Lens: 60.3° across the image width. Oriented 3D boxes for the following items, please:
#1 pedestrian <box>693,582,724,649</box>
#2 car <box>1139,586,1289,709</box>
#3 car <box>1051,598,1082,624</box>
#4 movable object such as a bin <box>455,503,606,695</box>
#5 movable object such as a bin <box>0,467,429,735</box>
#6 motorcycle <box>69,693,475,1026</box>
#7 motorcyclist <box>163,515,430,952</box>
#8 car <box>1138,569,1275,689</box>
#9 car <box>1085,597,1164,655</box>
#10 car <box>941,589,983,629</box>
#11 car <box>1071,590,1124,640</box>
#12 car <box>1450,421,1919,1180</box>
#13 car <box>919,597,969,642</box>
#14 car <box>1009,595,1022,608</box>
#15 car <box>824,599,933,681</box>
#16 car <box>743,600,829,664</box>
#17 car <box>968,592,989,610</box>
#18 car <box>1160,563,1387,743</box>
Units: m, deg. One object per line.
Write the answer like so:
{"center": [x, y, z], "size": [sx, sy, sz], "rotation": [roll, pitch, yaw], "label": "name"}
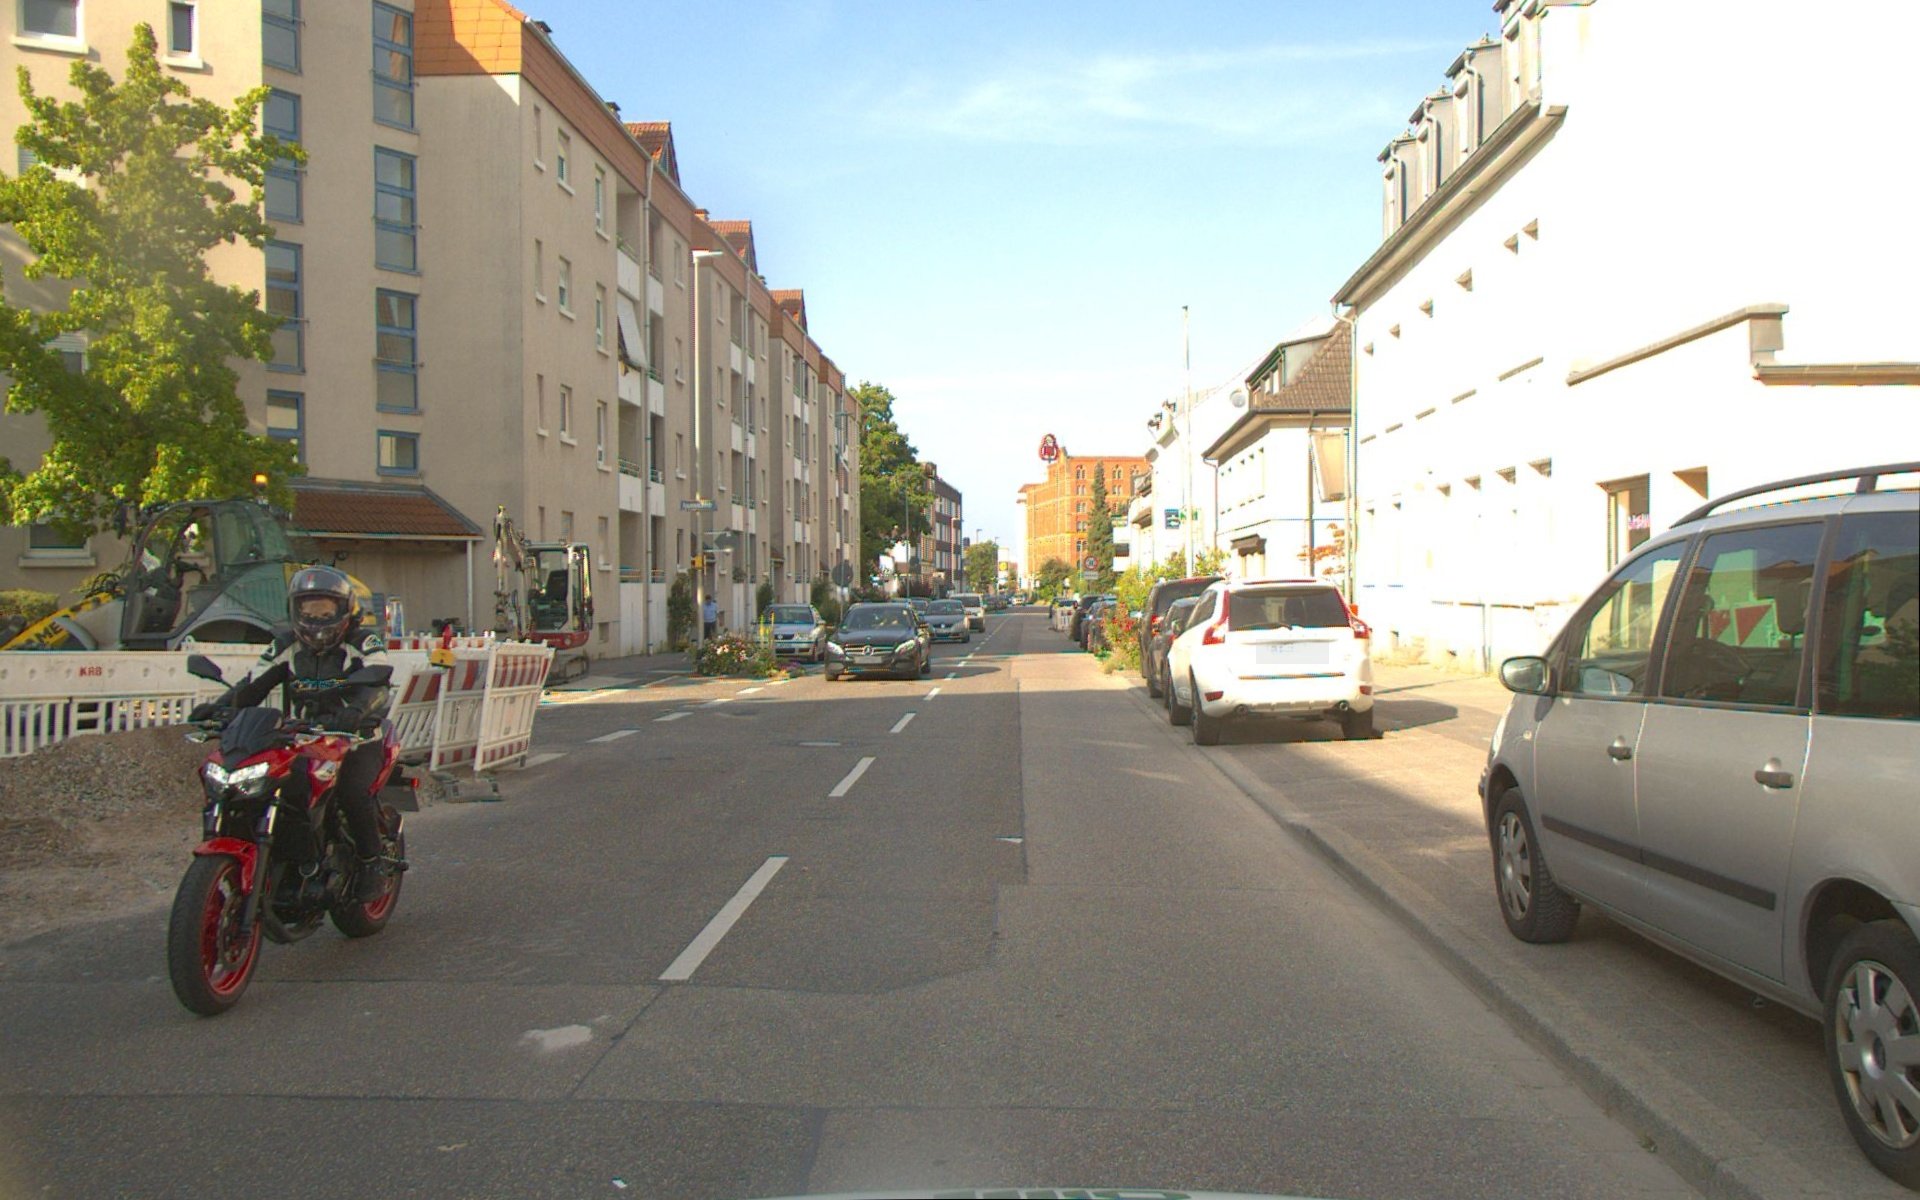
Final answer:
{"center": [-6.950, 0.419, 45.655], "size": [0.703, 1.850, 0.745], "rotation": [0, 0, 2], "label": "pedestrian"}
{"center": [3.578, 0.636, 23.964], "size": [1.556, 1.555, 4.615], "rotation": [-2, 0, 2], "label": "car"}
{"center": [6.448, 0.636, 100.208], "size": [1.791, 1.508, 3.944], "rotation": [-1, 0, 3], "label": "car"}
{"center": [-7.630, -0.042, 29.735], "size": [1.614, 3.193, 3.901], "rotation": [-1, 1, 1], "label": "movable object such as a bin"}
{"center": [-9.245, 0.005, 19.622], "size": [5.402, 2.951, 2.105], "rotation": [0, 1, -13], "label": "movable object such as a bin"}
{"center": [-2.687, 0.954, 6.786], "size": [0.752, 1.002, 2.199], "rotation": [0, 0, 0], "label": "motorcycle"}
{"center": [-2.691, 0.512, 6.798], "size": [0.753, 1.681, 0.843], "rotation": [0, 0, -1], "label": "motorcyclist"}
{"center": [4.259, 0.446, 29.221], "size": [2.032, 1.888, 4.613], "rotation": [-2, 1, 5], "label": "car"}
{"center": [4.351, 0.646, 44.309], "size": [1.742, 1.445, 4.497], "rotation": [-1, 0, 1], "label": "car"}
{"center": [0.116, 0.399, 77.801], "size": [1.882, 1.798, 4.339], "rotation": [-1, 0, 1], "label": "car"}
{"center": [5.006, 0.579, 60.540], "size": [1.791, 1.659, 4.464], "rotation": [2, -1, 4], "label": "car"}
{"center": [3.110, 0.435, 5.301], "size": [1.741, 1.771, 4.484], "rotation": [-2, 0, 1], "label": "car"}
{"center": [-0.516, 0.660, 57.364], "size": [1.584, 1.480, 3.686], "rotation": [-1, 0, 1], "label": "car"}
{"center": [7.662, 0.195, 227.662], "size": [1.727, 1.644, 4.001], "rotation": [-1, 0, 2], "label": "car"}
{"center": [-1.508, 0.718, 31.925], "size": [1.792, 1.445, 4.209], "rotation": [-1, 0, 1], "label": "car"}
{"center": [-4.165, 0.741, 39.973], "size": [1.606, 1.420, 3.672], "rotation": [-1, 0, 1], "label": "car"}
{"center": [1.964, 0.081, 174.198], "size": [1.952, 1.914, 4.001], "rotation": [0, 0, 3], "label": "car"}
{"center": [3.322, 0.500, 18.361], "size": [1.774, 1.713, 4.478], "rotation": [-1, 0, 2], "label": "car"}
